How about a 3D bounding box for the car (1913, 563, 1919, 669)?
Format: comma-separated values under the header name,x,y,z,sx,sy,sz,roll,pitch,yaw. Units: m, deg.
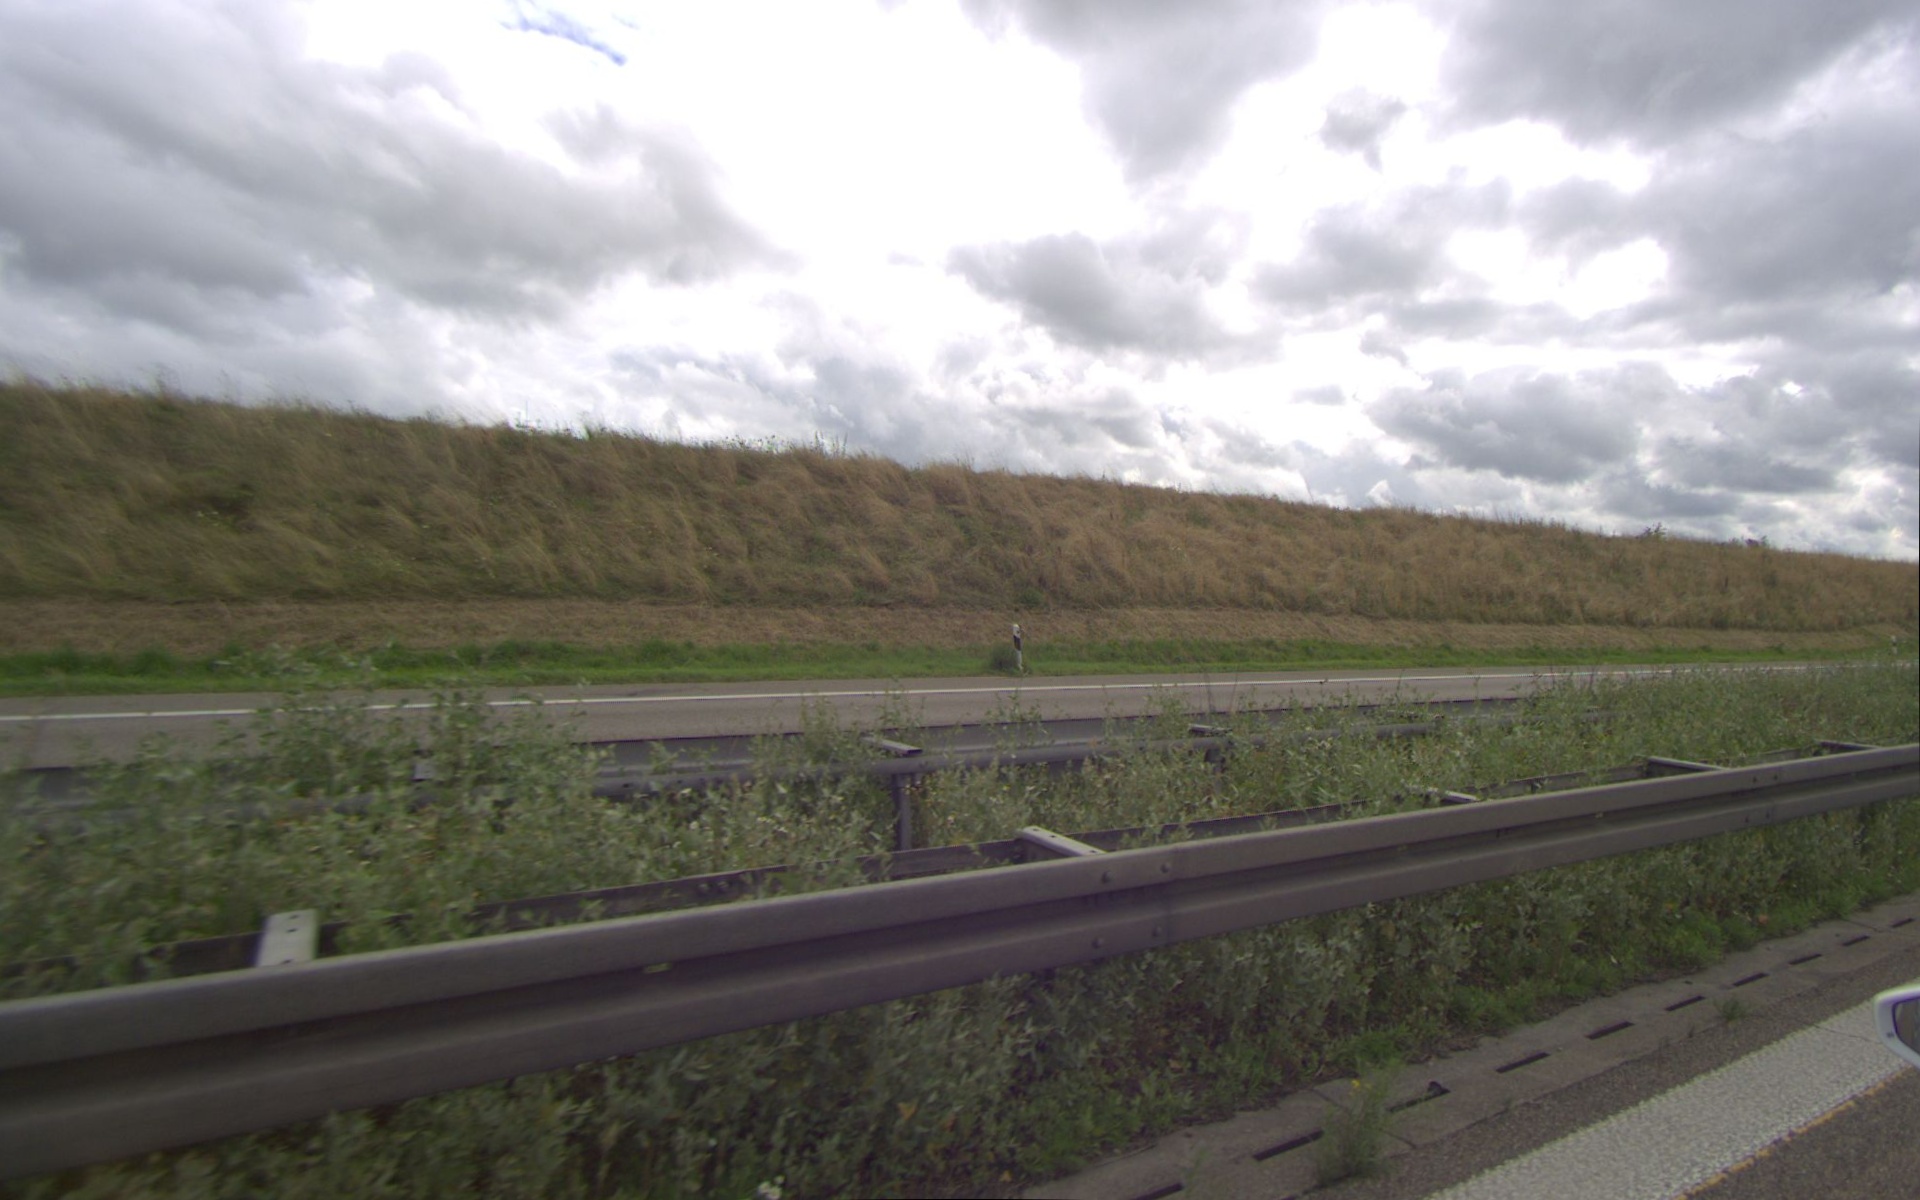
name,x,y,z,sx,sy,sz,roll,pitch,yaw
car,24.602,0.458,23.411,5.804,2.379,1.983,2,0,-31
